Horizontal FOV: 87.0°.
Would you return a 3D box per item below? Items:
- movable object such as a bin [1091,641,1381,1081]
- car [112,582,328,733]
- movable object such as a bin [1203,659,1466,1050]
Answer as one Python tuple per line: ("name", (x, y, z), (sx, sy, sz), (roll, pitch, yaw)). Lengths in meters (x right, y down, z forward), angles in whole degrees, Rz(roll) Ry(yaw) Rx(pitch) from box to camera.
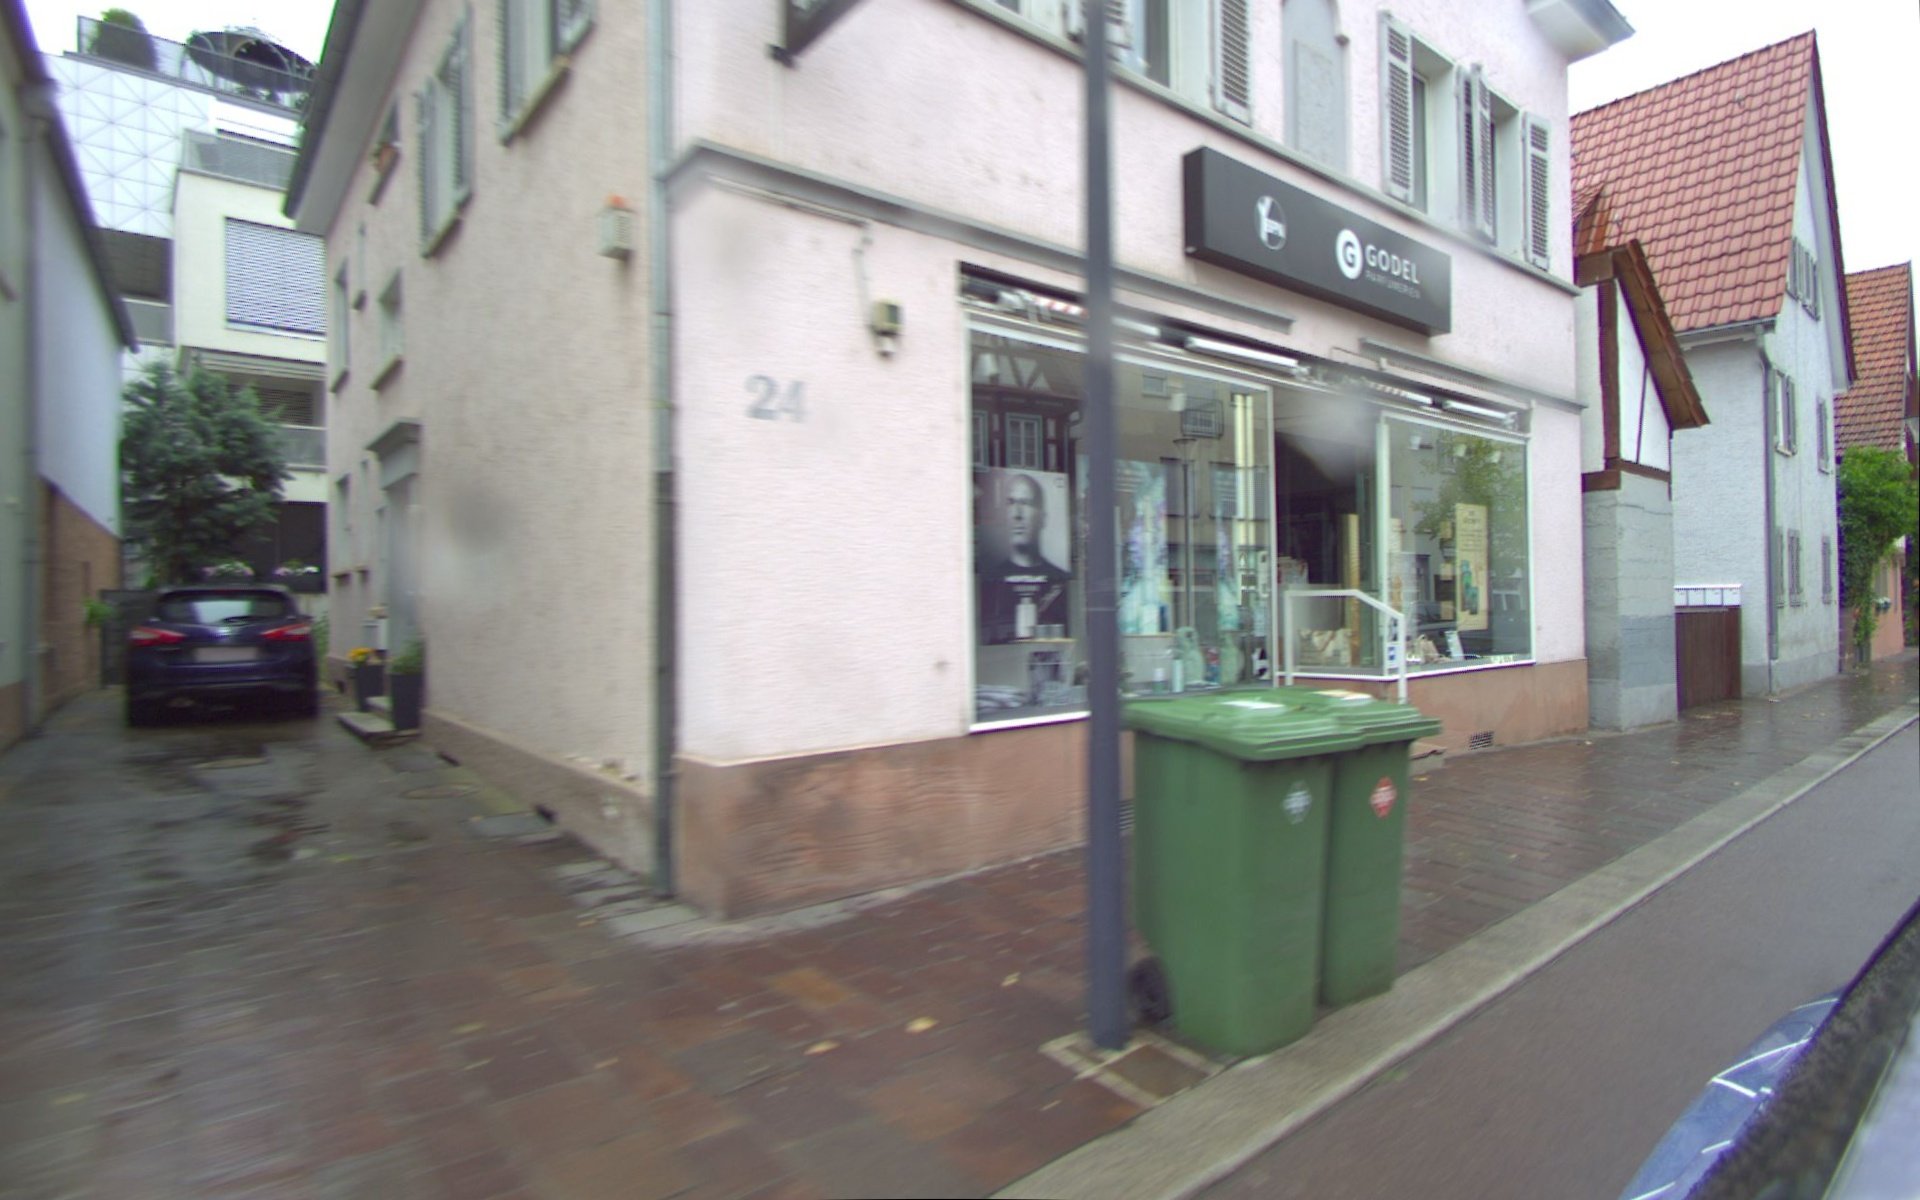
("movable object such as a bin", (0.901, 0.767, 3.363), (0.568, 1.216, 0.720), (-1, 0, -39))
("car", (-8.757, 0.564, 12.056), (1.802, 1.482, 3.673), (-1, 1, -36))
("movable object such as a bin", (1.381, 0.859, 3.769), (0.563, 1.216, 0.720), (-1, 0, -39))
